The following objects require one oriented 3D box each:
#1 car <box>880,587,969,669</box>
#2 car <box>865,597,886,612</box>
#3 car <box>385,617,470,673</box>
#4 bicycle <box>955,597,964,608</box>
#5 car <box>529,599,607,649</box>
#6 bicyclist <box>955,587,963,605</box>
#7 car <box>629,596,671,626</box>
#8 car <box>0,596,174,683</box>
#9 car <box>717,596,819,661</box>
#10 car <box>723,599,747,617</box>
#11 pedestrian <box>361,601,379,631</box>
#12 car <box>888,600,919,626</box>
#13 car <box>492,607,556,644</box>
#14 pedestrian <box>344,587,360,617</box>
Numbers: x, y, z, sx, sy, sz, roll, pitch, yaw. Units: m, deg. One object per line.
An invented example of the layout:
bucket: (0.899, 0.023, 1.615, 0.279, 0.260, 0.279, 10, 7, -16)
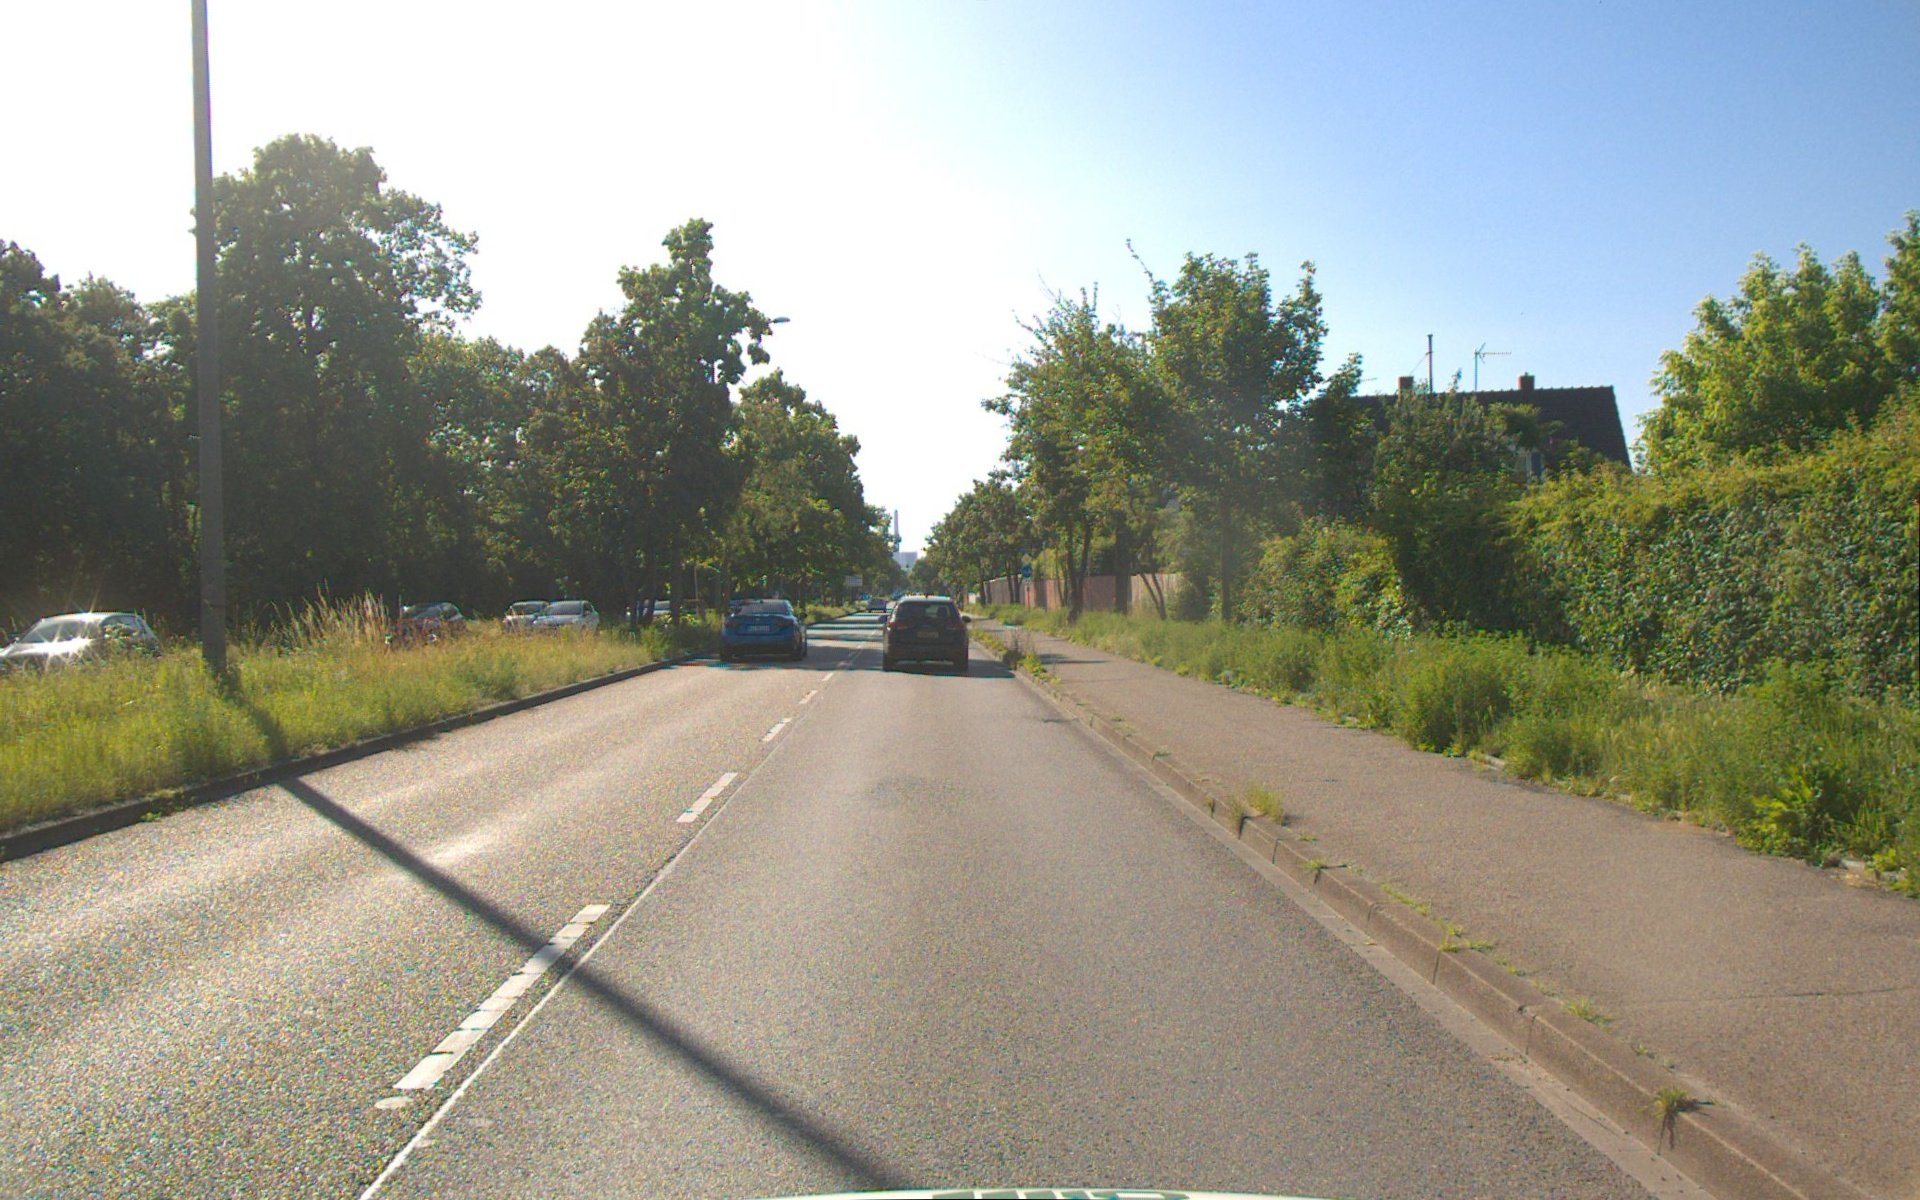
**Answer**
car: (-0.712, 0.559, 34.393, 1.724, 1.586, 3.999, 1, 0, -1)
car: (-8.678, 0.473, 169.345, 1.940, 1.465, 3.996, -1, 1, -6)
car: (-17.336, 1.433, 53.990, 1.572, 1.590, 3.998, -3, 1, -3)
bicycle: (-0.042, 0.188, 135.032, 0.642, 0.908, 1.874, -1, 0, -2)
car: (-13.610, 0.798, 57.617, 1.678, 1.630, 4.358, -1, 0, -1)
bicyclist: (-0.074, -0.344, 135.209, 0.666, 1.443, 0.812, -1, 0, -2)
car: (-18.523, 0.635, 99.054, 1.803, 1.617, 4.582, -3, 1, -3)
car: (-17.161, 0.718, 32.086, 1.769, 1.526, 4.594, -1, 0, -2)
car: (-4.474, 0.630, 39.017, 1.954, 1.429, 4.000, 0, 0, 0)
car: (-20.601, 0.713, 151.428, 1.680, 1.531, 3.016, -2, 2, 0)
pedestrian: (-29.198, 0.778, 81.846, 0.533, 1.485, 0.917, -1, 0, -2)
car: (-3.760, 0.844, 109.166, 1.710, 1.625, 4.169, -1, 1, -6)
car: (-18.064, 1.024, 68.677, 1.801, 1.437, 3.997, -1, 0, -3)
pedestrian: (-30.100, 0.091, 81.899, 0.533, 1.485, 0.595, 1, 0, -2)
